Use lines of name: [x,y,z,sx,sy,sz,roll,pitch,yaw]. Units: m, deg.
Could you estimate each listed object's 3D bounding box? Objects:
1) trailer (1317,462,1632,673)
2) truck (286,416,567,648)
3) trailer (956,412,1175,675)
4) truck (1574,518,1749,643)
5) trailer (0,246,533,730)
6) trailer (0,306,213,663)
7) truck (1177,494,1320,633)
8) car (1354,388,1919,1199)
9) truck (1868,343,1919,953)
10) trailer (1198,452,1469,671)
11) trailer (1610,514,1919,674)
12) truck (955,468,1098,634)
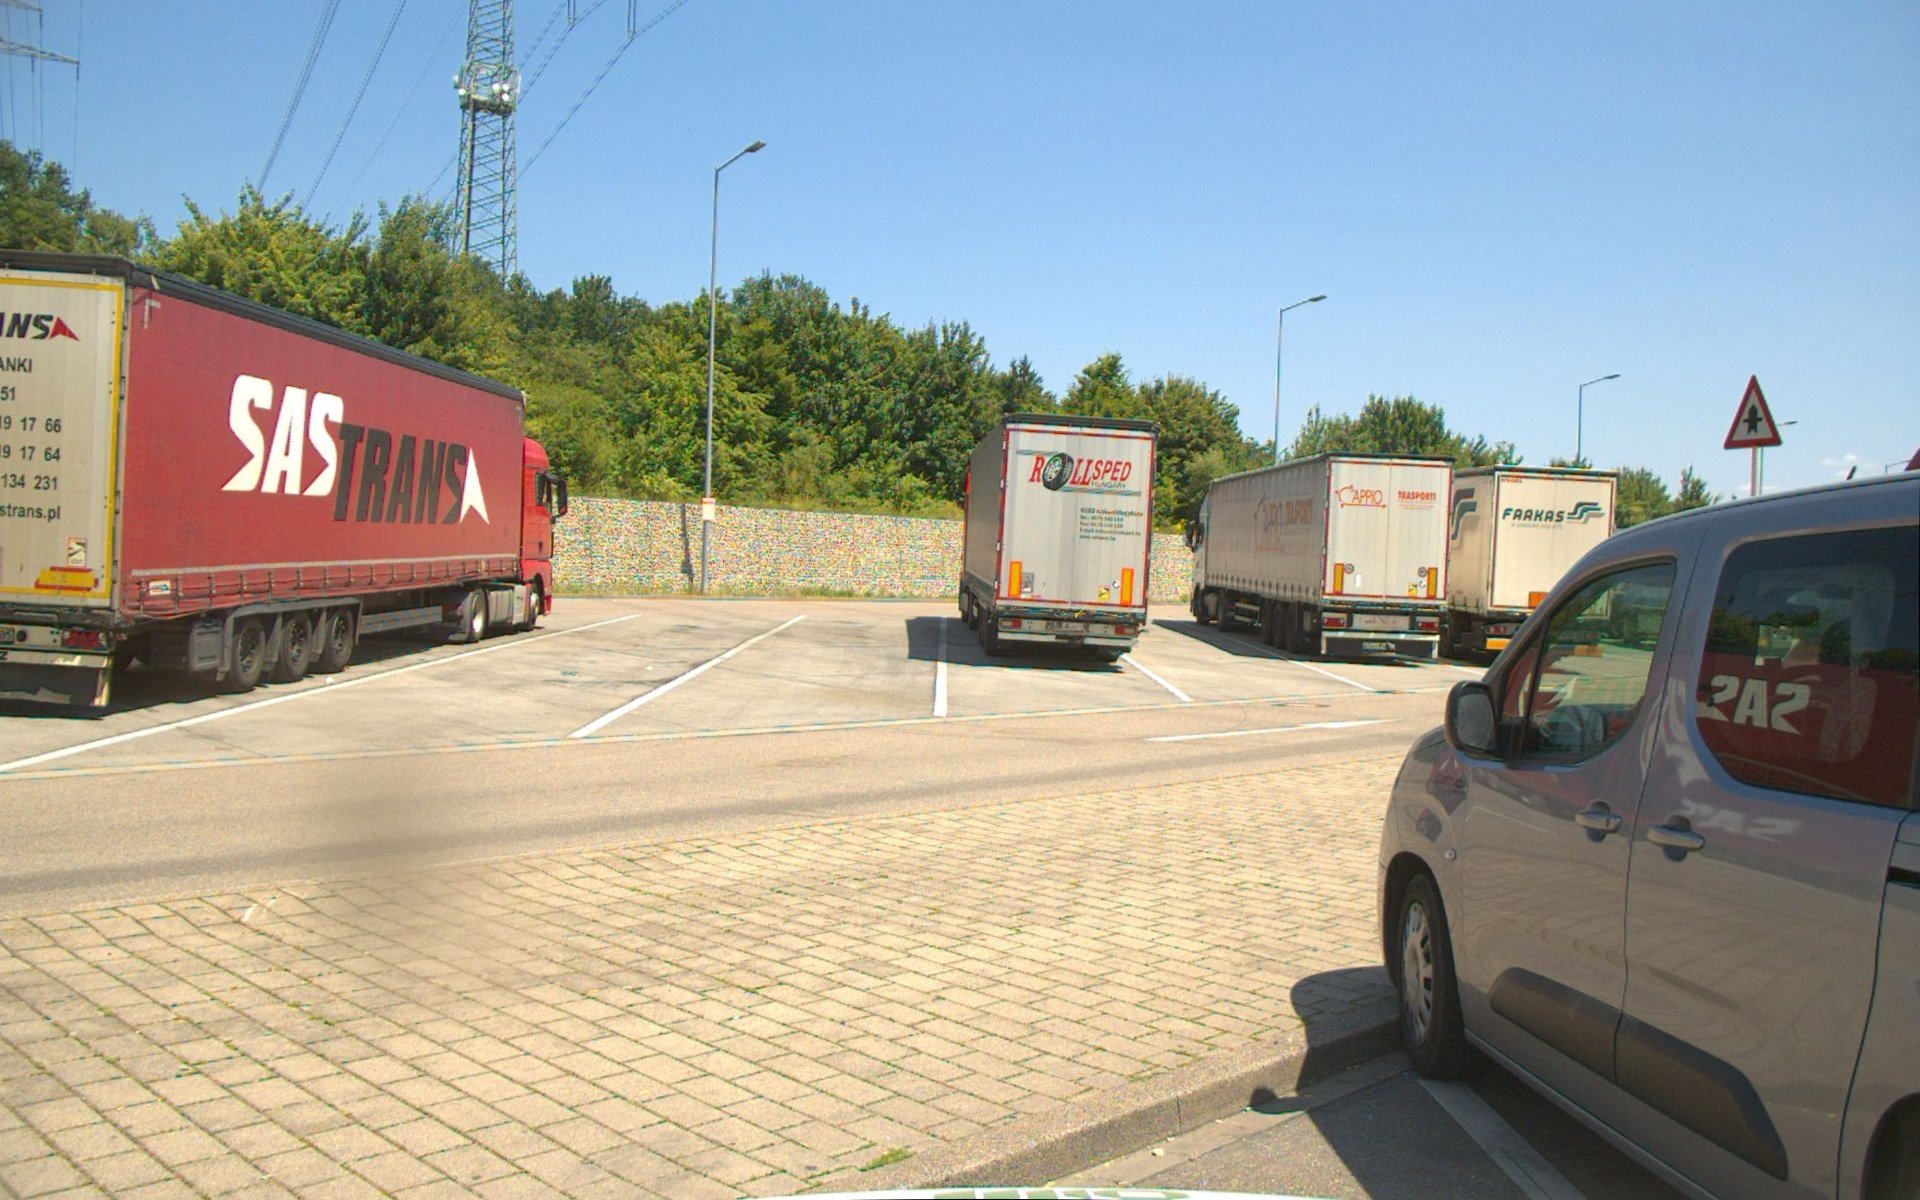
trailer: [11.739,-0.931,39.939,2.754,4.058,14.395,3,2,-1]
truck: [-8.787,-1.146,27.991,2.793,3.385,5.900,3,2,-1]
trailer: [1.663,-1.189,33.626,3.070,4.058,14.393,3,2,-1]
truck: [21.773,-0.692,51.718,2.746,3.582,5.900,3,2,-1]
trailer: [-8.722,-1.286,21.421,2.735,4.155,14.131,3,2,-1]
trailer: [-12.549,-1.332,17.699,2.739,4.155,14.131,3,2,-1]
truck: [8.059,-1.088,46.934,2.804,3.582,5.900,3,2,-1]
car: [2.441,0.604,3.840,1.832,1.896,4.174,3,1,-2]
truck: [5.003,0.201,4.963,1.937,2.668,5.307,1,0,4]
trailer: [8.176,-1.026,38.834,2.754,4.058,14.395,3,2,-1]
trailer: [21.849,-0.388,44.488,2.754,3.568,14.395,3,2,-1]
truck: [1.507,-1.235,40.516,3.041,3.628,5.900,3,2,-1]
